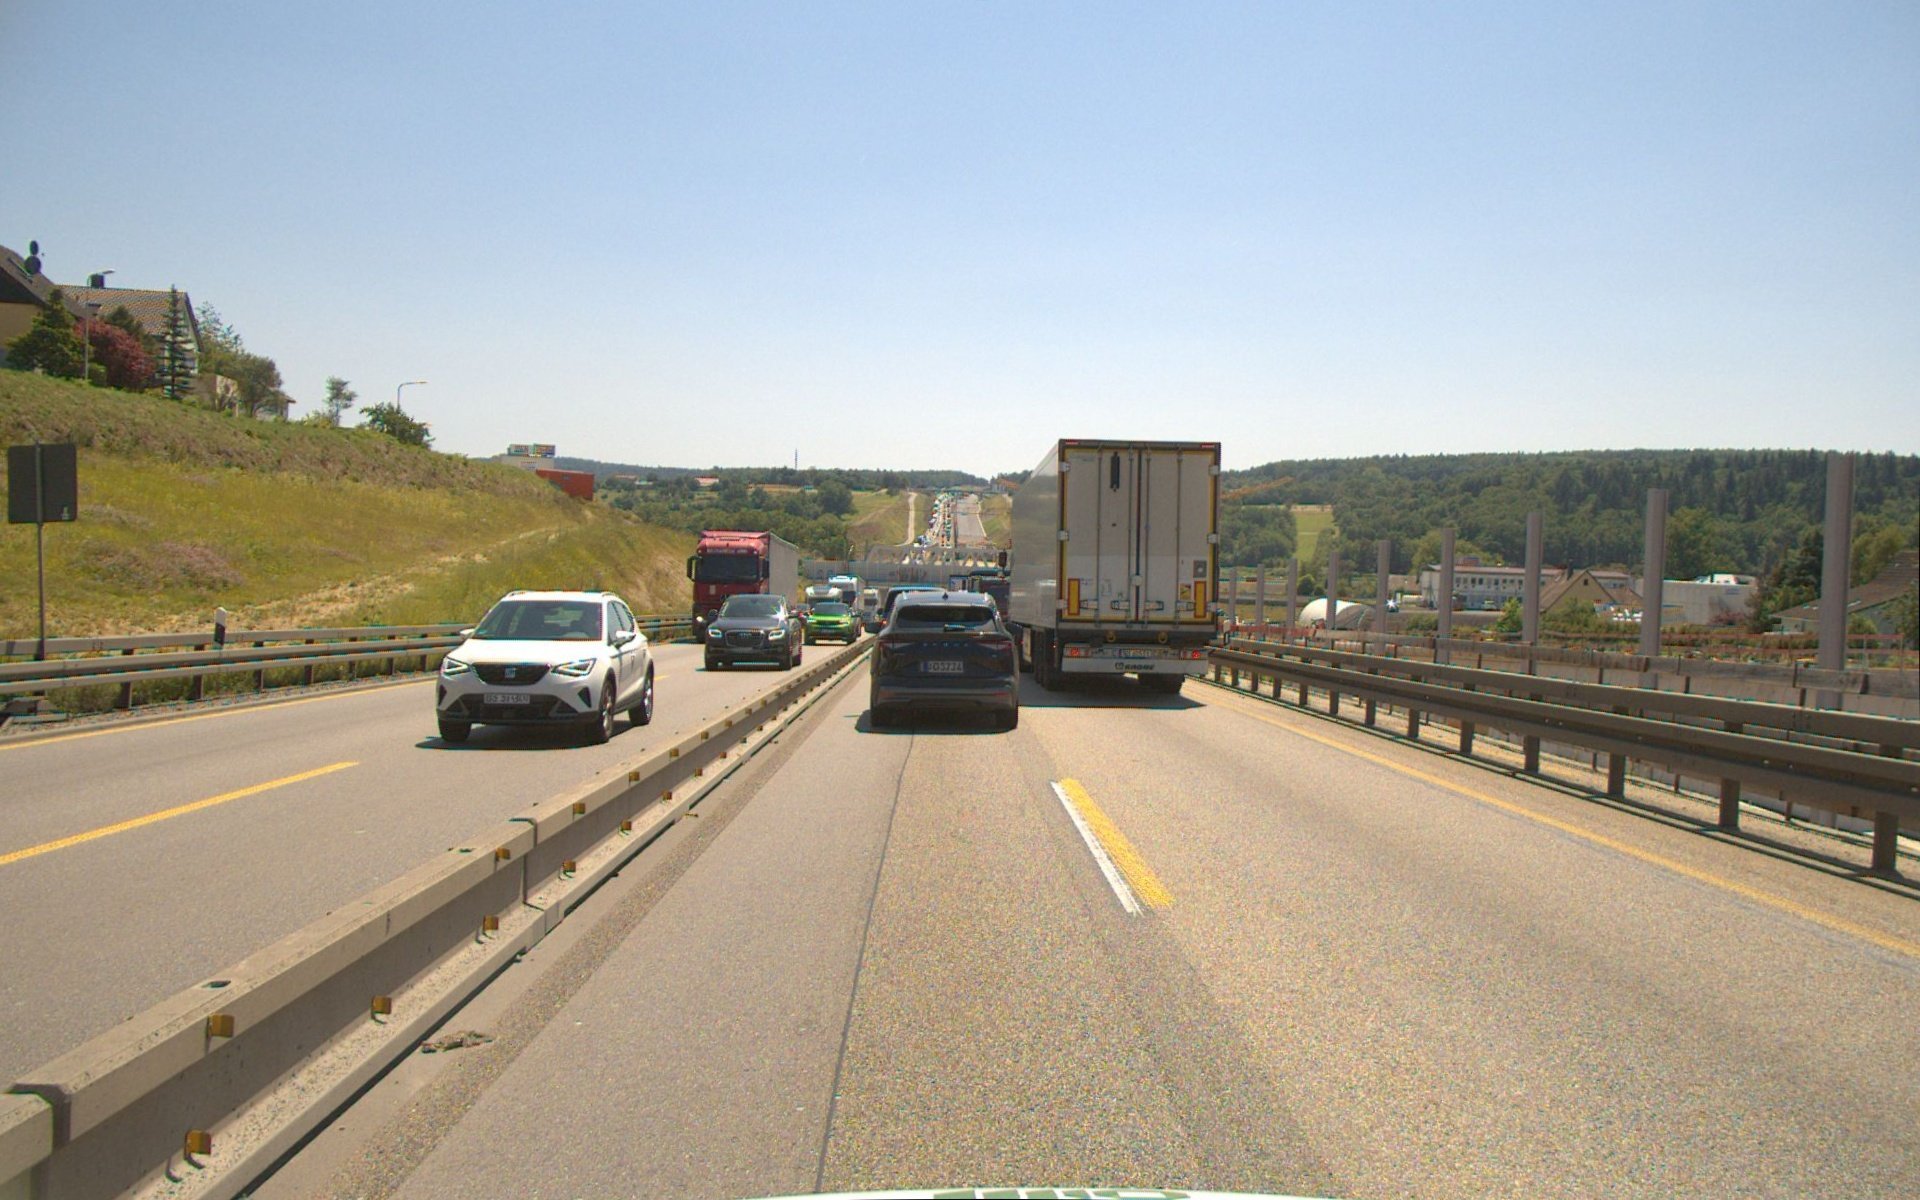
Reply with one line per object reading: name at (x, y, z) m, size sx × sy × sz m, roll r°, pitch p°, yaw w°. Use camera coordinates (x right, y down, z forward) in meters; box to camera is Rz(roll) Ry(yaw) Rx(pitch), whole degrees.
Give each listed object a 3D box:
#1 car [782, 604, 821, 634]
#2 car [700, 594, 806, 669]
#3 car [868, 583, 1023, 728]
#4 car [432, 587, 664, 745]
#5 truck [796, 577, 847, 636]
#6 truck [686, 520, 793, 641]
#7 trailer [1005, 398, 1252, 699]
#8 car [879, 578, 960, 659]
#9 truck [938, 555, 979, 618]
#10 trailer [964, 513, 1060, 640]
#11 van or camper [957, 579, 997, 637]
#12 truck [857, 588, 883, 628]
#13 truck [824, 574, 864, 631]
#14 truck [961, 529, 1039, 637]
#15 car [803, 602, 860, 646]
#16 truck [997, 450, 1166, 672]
car at (-9.234, 1.111, 96.598) m, size 1.953 × 1.680 × 3.998 m, roll 1°, pitch -1°, yaw -2°
car at (-4.543, 0.682, 36.836) m, size 1.953 × 1.557 × 3.998 m, roll 1°, pitch 0°, yaw -2°
car at (-0.183, 0.664, 21.008) m, size 1.765 × 1.636 × 3.999 m, roll 1°, pitch -1°, yaw -1°
car at (-4.402, 0.652, 18.261) m, size 1.756 × 1.545 × 3.996 m, roll 0°, pitch 0°, yaw -3°
truck at (-9.482, 0.554, 114.198) m, size 2.795 × 3.849 × 11.912 m, roll 1°, pitch -1°, yaw -2°
truck at (-8.367, -0.555, 64.193) m, size 2.795 × 4.212 × 11.912 m, roll 1°, pitch -1°, yaw -2°
trailer at (2.790, -0.808, 32.104) m, size 3.116 × 4.592 × 13.105 m, roll 1°, pitch 0°, yaw -1°
car at (-1.051, 0.499, 42.945) m, size 1.953 × 1.959 × 4.506 m, roll 1°, pitch -1°, yaw -1°
truck at (-0.202, -0.979, 130.665) m, size 2.795 × 4.543 × 11.912 m, roll 1°, pitch -1°, yaw -2°
trailer at (1.918, -0.681, 68.256) m, size 3.116 × 4.592 × 14.961 m, roll 1°, pitch -1°, yaw -1°
van or camper at (1.034, 0.549, 101.530) m, size 2.339 × 3.338 × 6.468 m, roll 1°, pitch -2°, yaw 1°
truck at (-10.570, 1.002, 195.165) m, size 2.795 × 4.414 × 11.912 m, roll 1°, pitch -1°, yaw -2°
truck at (-9.580, 0.278, 137.709) m, size 2.795 × 4.414 × 11.912 m, roll 1°, pitch -1°, yaw -2°
truck at (1.748, -0.634, 75.470) m, size 3.116 × 4.592 × 8.162 m, roll 1°, pitch -1°, yaw -1°
car at (-4.604, 0.846, 59.670) m, size 1.824 × 1.502 × 3.998 m, roll 2°, pitch 0°, yaw -2°
truck at (2.634, -0.820, 38.676) m, size 3.116 × 4.592 × 8.163 m, roll 1°, pitch 0°, yaw -1°
